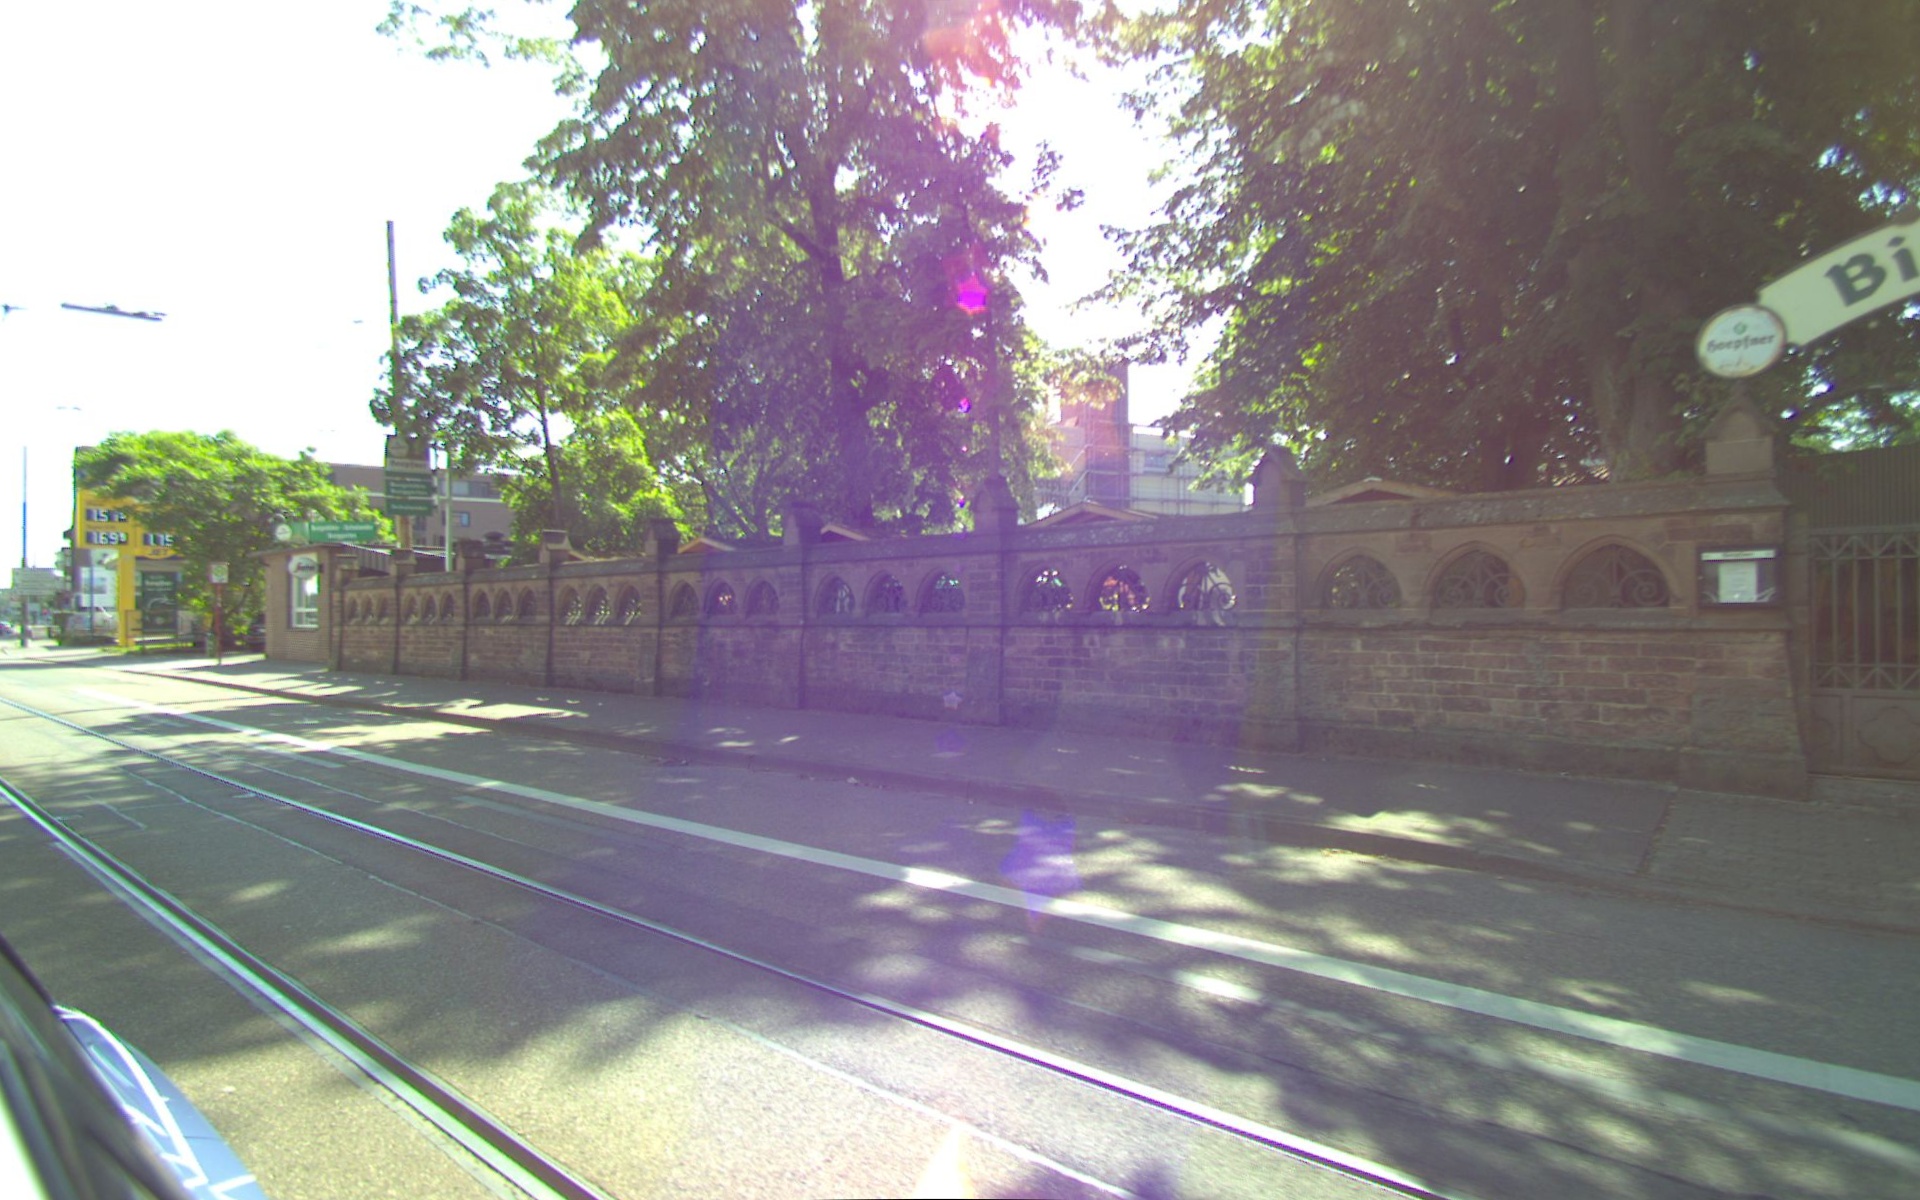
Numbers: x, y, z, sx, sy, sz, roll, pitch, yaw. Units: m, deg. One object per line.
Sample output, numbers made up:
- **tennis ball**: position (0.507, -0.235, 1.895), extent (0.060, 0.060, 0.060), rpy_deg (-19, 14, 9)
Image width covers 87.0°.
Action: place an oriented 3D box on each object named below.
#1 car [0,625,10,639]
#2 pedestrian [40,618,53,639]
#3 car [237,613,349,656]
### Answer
- **car**: position (-119.559, 4.018, 126.009), extent (1.691, 1.634, 3.583), rpy_deg (-2, 0, -42)
- **pedestrian**: position (-84.555, 2.635, 93.667), extent (0.834, 1.833, 0.839), rpy_deg (0, -1, -42)
- **car**: position (-27.150, 1.359, 41.389), extent (1.919, 1.637, 4.584), rpy_deg (-1, 0, -6)
